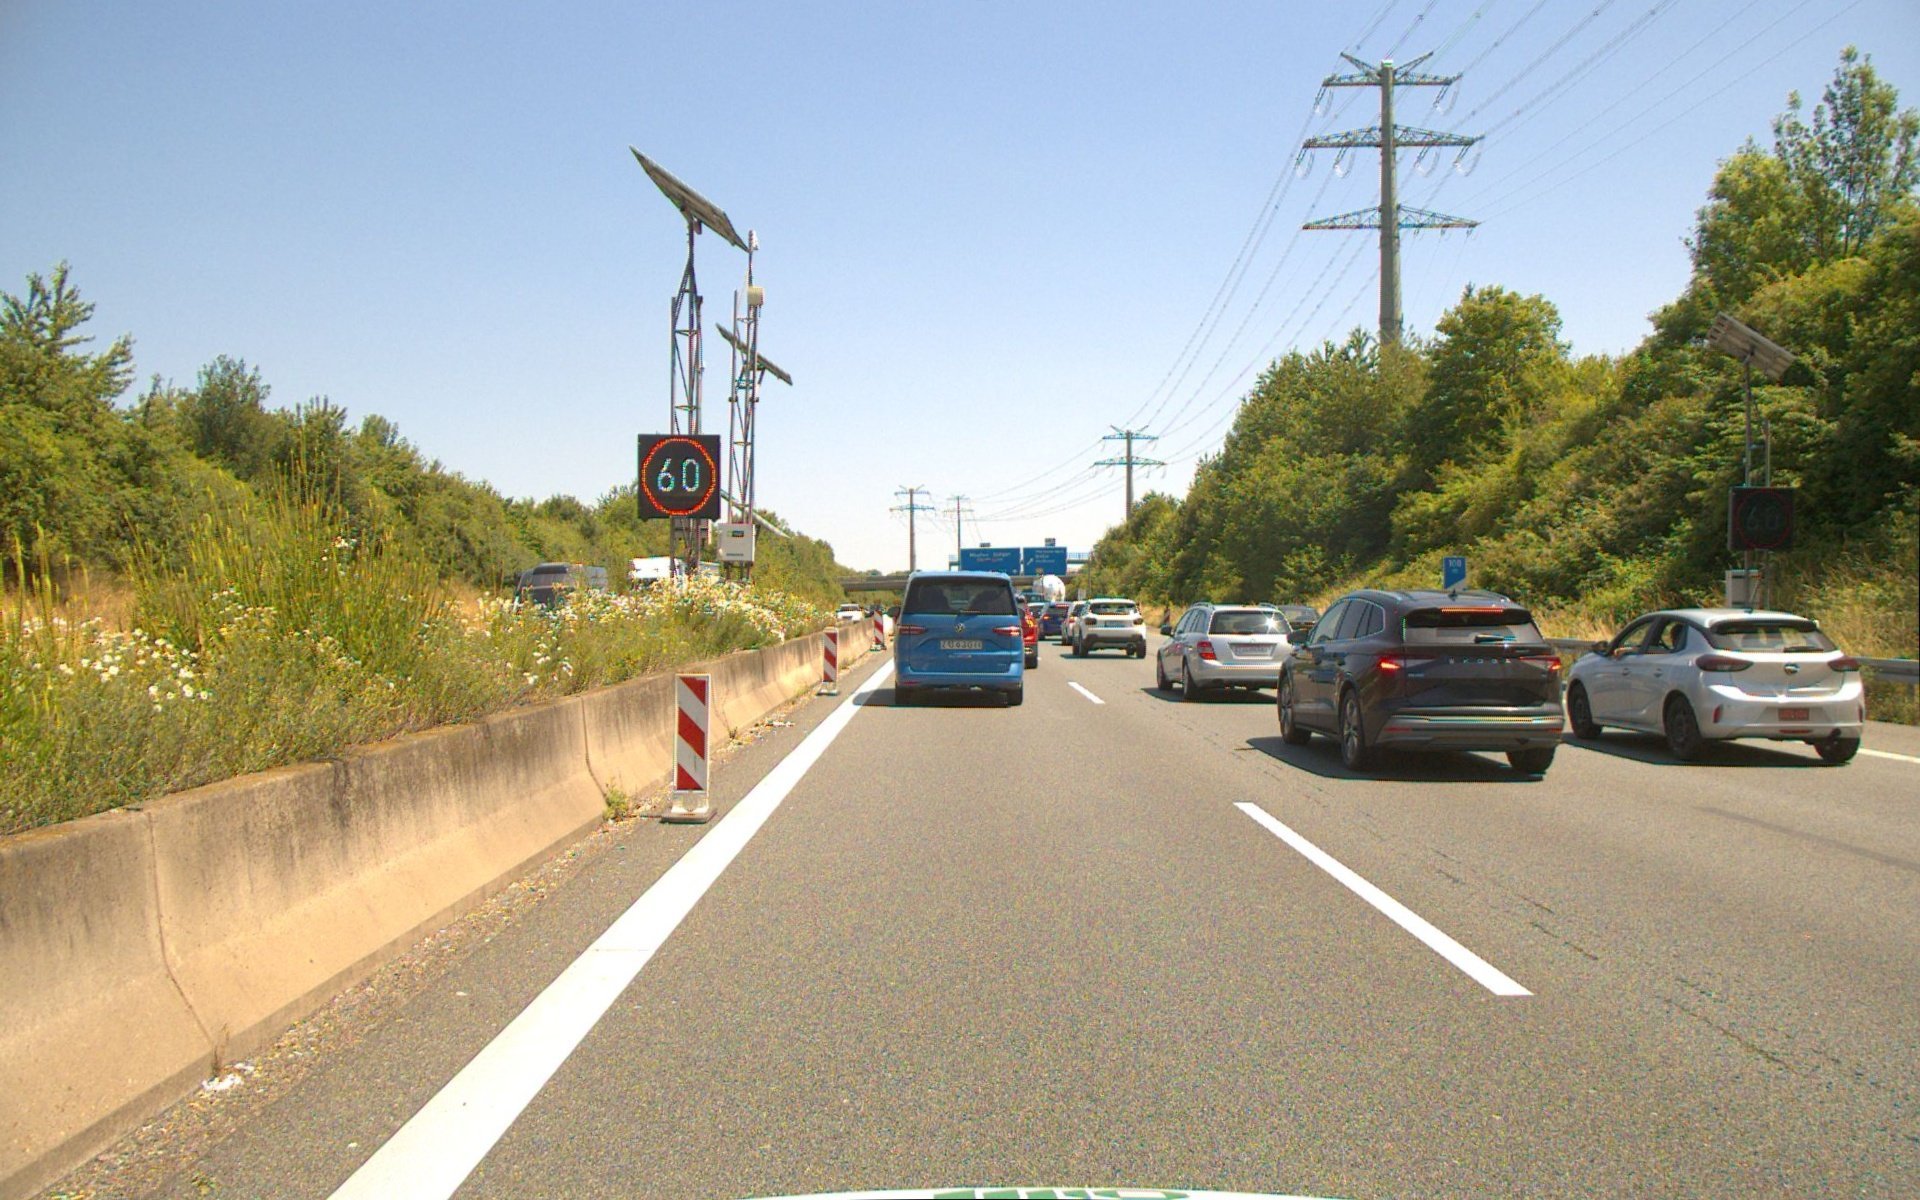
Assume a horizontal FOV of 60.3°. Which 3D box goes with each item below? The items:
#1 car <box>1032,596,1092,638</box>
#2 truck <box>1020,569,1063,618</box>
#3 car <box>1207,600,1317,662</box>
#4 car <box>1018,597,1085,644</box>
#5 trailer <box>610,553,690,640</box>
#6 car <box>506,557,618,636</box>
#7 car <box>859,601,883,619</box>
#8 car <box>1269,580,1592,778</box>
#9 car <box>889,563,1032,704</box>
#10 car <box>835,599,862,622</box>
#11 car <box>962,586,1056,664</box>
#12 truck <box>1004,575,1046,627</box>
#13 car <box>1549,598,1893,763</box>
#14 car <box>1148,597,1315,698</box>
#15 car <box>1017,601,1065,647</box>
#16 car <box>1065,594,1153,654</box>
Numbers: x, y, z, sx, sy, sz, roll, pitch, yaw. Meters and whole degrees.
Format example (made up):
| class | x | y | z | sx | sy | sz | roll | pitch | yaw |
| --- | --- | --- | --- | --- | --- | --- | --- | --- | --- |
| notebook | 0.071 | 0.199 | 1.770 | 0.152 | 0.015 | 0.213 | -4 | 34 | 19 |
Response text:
| class | x | y | z | sx | sy | sz | roll | pitch | yaw |
| --- | --- | --- | --- | --- | --- | --- | --- | --- | --- |
| car | 3.909 | 0.643 | 64.155 | 1.870 | 1.542 | 4.381 | 1 | 0 | -2 |
| truck | 7.222 | -0.586 | 149.253 | 2.591 | 4.143 | 16.436 | 1 | 0 | -1 |
| car | 7.246 | 0.713 | 40.023 | 1.700 | 1.402 | 4.300 | 1 | 0 | -2 |
| car | 3.122 | 0.670 | 57.306 | 1.870 | 1.542 | 4.381 | 1 | 0 | -2 |
| trailer | -15.458 | -0.176 | 82.861 | 2.900 | 4.128 | 5.433 | -2 | 0 | 0 |
| car | -11.401 | -0.092 | 47.719 | 1.953 | 2.128 | 5.228 | -1 | 0 | 0 |
| car | -8.079 | 0.913 | 150.866 | 1.953 | 1.573 | 4.912 | -1 | 0 | 0 |
| car | 4.373 | 0.652 | 16.122 | 1.791 | 1.642 | 4.430 | 1 | 0 | -1 |
| car | -0.078 | 0.463 | 25.028 | 1.834 | 1.912 | 4.380 | 1 | 0 | -4 |
| car | -7.499 | 0.696 | 111.365 | 1.551 | 1.468 | 4.000 | 1 | 0 | 0 |
| car | 1.054 | 0.537 | 37.511 | 1.870 | 1.659 | 4.382 | 0 | 0 | -2 |
| truck | 3.583 | 0.044 | 92.771 | 1.953 | 2.771 | 5.678 | 1 | 0 | -1 |
| car | 7.759 | 0.744 | 17.314 | 1.705 | 1.496 | 4.013 | 1 | 0 | -1 |
| car | 4.243 | 0.701 | 26.525 | 1.784 | 1.462 | 4.381 | 1 | 0 | -2 |
| car | 3.694 | 1.070 | 76.186 | 1.953 | 2.049 | 3.999 | 1 | 0 | -1 |
| car | 3.973 | 0.623 | 44.759 | 1.870 | 1.534 | 3.920 | 1 | 0 | -2 |
